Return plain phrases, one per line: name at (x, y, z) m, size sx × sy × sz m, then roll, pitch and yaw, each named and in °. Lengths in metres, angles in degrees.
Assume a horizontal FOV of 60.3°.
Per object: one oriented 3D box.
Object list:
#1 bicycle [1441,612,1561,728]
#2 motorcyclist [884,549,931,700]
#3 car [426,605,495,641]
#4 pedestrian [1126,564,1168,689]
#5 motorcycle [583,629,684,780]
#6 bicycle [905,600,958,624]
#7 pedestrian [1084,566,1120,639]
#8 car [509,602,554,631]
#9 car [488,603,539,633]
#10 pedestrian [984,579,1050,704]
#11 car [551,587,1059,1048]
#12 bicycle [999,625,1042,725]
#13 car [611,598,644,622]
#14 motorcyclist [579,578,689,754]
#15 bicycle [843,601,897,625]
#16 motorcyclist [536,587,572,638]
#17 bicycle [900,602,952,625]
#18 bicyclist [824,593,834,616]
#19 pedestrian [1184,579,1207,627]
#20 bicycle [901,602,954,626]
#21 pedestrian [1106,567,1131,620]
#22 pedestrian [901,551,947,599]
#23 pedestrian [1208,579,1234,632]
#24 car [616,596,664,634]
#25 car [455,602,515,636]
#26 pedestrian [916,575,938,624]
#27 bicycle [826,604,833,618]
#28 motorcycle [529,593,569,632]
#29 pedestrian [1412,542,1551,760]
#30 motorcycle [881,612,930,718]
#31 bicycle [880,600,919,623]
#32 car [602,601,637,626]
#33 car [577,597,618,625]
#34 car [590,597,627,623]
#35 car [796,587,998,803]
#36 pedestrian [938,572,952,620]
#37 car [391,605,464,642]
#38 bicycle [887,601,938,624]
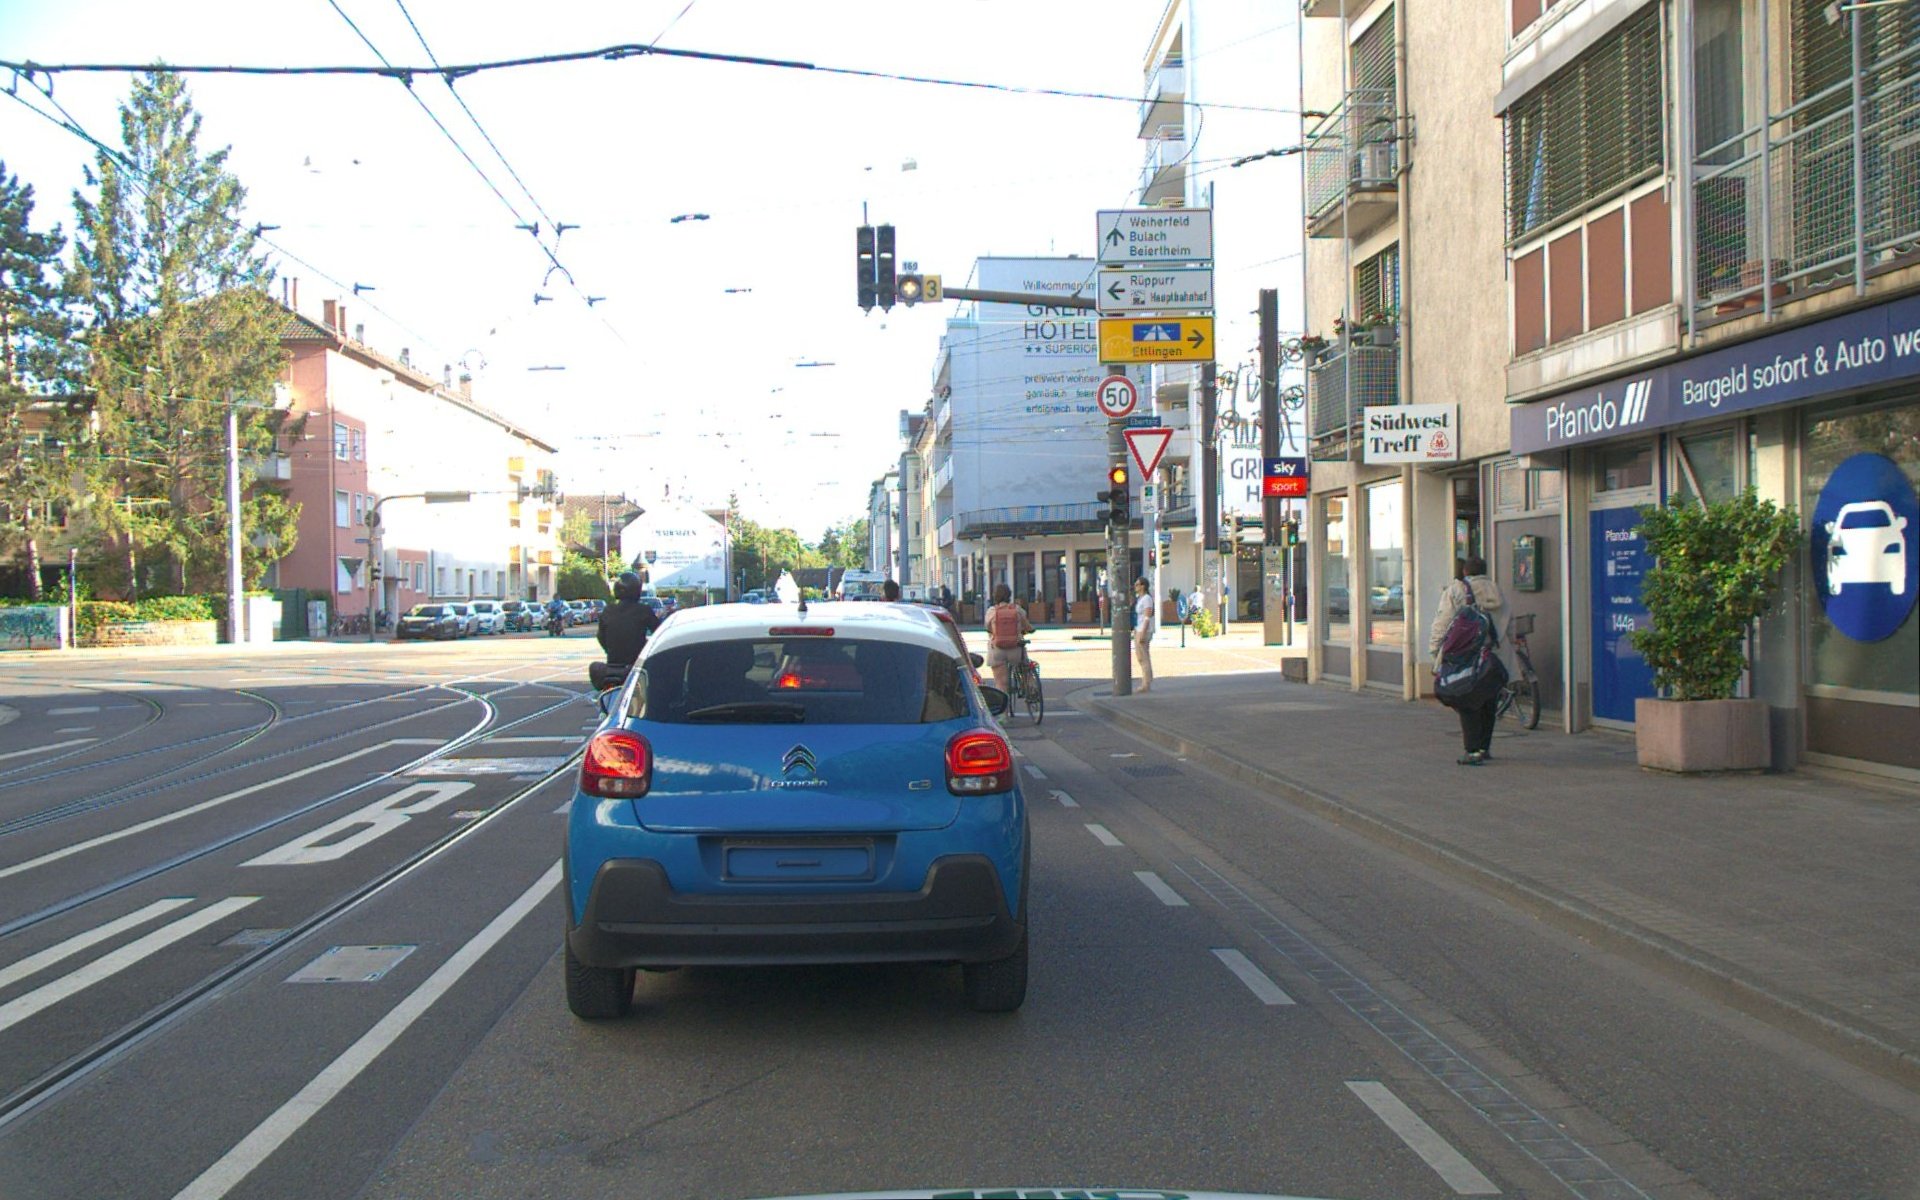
bicycle at (5.049, 0.624, 15.529) m, size 0.531 × 1.016 × 1.705 m, roll 1°, pitch 0°, yaw -1°
motorcyclist at (-0.612, 0.286, 19.589) m, size 0.516 × 1.746 × 0.717 m, roll 1°, pitch -1°, yaw -1°
car at (-22.152, 1.002, 73.498) m, size 1.778 × 1.524 × 4.299 m, roll 1°, pitch 0°, yaw -1°
pedestrian at (2.750, 0.391, 24.351) m, size 0.507 × 1.814 × 0.595 m, roll 1°, pitch -1°, yaw -3°
motorcycle at (-2.909, 0.896, 14.901) m, size 0.526 × 1.240 × 1.980 m, roll 1°, pitch 0°, yaw -1°
bicycle at (-1.143, 0.477, 65.860) m, size 2.093 × 0.917 × 0.366 m, roll 1°, pitch -1°, yaw -10°
pedestrian at (4.038, 0.067, 47.004) m, size 0.907 × 2.049 × 0.759 m, roll 1°, pitch -1°, yaw -1°
car at (-23.733, 0.916, 91.669) m, size 1.699 × 1.524 × 3.996 m, roll 1°, pitch 0°, yaw -5°
car at (-23.099, 0.924, 85.704) m, size 1.750 × 1.524 × 3.997 m, roll 1°, pitch 0°, yaw -4°
pedestrian at (0.689, 0.497, 20.229) m, size 0.761 × 1.486 × 0.681 m, roll 1°, pitch -1°, yaw -1°
car at (-0.523, 0.713, 7.117) m, size 1.620 × 1.469 × 3.522 m, roll 1°, pitch 0°, yaw -1°
bicycle at (0.734, 0.900, 20.488) m, size 0.419 × 1.142 × 1.998 m, roll 1°, pitch 0°, yaw -1°
car at (-24.293, 0.708, 120.881) m, size 1.809 × 1.716 × 3.871 m, roll 1°, pitch 0°, yaw -4°
motorcyclist at (-2.902, 0.583, 14.792) m, size 0.843 × 1.531 × 0.598 m, roll 1°, pitch -1°, yaw -1°
bicycle at (-3.603, 0.523, 66.159) m, size 2.093 × 0.917 × 0.366 m, roll 1°, pitch -1°, yaw -10°
motorcyclist at (-16.470, 0.492, 67.061) m, size 1.162 × 2.049 × 1.274 m, roll -1°, pitch 0°, yaw -4°
bicycle at (-1.389, 0.551, 67.393) m, size 2.093 × 0.917 × 0.366 m, roll 1°, pitch -1°, yaw -10°
bicyclist at (-8.714, 0.302, 110.167) m, size 0.549 × 1.503 × 0.748 m, roll 1°, pitch -1°, yaw -1°
pedestrian at (8.025, 0.100, 56.324) m, size 0.720 × 1.629 × 0.749 m, roll 1°, pitch -1°, yaw 12°
bicycle at (-1.325, 0.566, 66.991) m, size 2.093 × 0.917 × 0.366 m, roll 1°, pitch -1°, yaw -10°
pedestrian at (6.138, -0.246, 64.017) m, size 0.743 × 2.049 × 0.710 m, roll 1°, pitch -1°, yaw 30°
pedestrian at (-1.602, -1.087, 73.508) m, size 1.953 × 2.049 × 3.999 m, roll 1°, pitch 0°, yaw -1°
pedestrian at (8.515, 0.176, 54.002) m, size 0.736 × 1.686 × 0.884 m, roll 1°, pitch -1°, yaw 15°
car at (-14.701, 0.683, 76.139) m, size 1.740 × 1.695 × 3.853 m, roll 1°, pitch 0°, yaw -4°
car at (-22.640, 0.882, 79.012) m, size 1.751 × 1.537 × 4.148 m, roll 1°, pitch 0°, yaw -2°
pedestrian at (-1.385, -0.023, 69.132) m, size 0.625 × 2.049 × 0.715 m, roll 1°, pitch -1°, yaw -37°
bicycle at (-8.718, 0.724, 110.609) m, size 0.342 × 0.919 × 1.858 m, roll 1°, pitch 0°, yaw -2°
motorcycle at (-16.525, 0.481, 66.572) m, size 0.905 × 1.512 × 3.723 m, roll 1°, pitch 0°, yaw -4°
pedestrian at (4.004, 0.382, 12.743) m, size 0.808 × 1.620 × 0.751 m, roll 1°, pitch -1°, yaw -1°
motorcycle at (-0.620, 0.728, 19.399) m, size 0.515 × 1.159 × 2.289 m, roll 1°, pitch 0°, yaw -1°
bicycle at (-2.560, 0.480, 69.353) m, size 1.751 × 0.917 × 0.365 m, roll 1°, pitch -1°, yaw 34°
car at (-23.914, 0.919, 116.300) m, size 1.797 × 1.716 × 3.997 m, roll 1°, pitch 0°, yaw -4°
car at (-23.169, 0.700, 105.891) m, size 1.944 × 1.716 × 3.997 m, roll 1°, pitch 0°, yaw -4°
car at (-23.564, 0.679, 111.007) m, size 1.845 × 1.716 × 3.997 m, roll 1°, pitch 0°, yaw -4°
car at (-0.462, 0.679, 13.123) m, size 1.395 × 1.493 × 2.923 m, roll -1°, pitch 0°, yaw -1°
pedestrian at (-0.632, -0.163, 70.357) m, size 0.565 × 2.049 × 0.625 m, roll 1°, pitch -1°, yaw -3°
car at (-21.946, 0.943, 68.318) m, size 1.757 × 1.446 × 3.994 m, roll 1°, pitch 0°, yaw -2°
bicycle at (-1.962, 0.498, 68.267) m, size 2.093 × 0.917 × 0.366 m, roll 1°, pitch -1°, yaw -10°
